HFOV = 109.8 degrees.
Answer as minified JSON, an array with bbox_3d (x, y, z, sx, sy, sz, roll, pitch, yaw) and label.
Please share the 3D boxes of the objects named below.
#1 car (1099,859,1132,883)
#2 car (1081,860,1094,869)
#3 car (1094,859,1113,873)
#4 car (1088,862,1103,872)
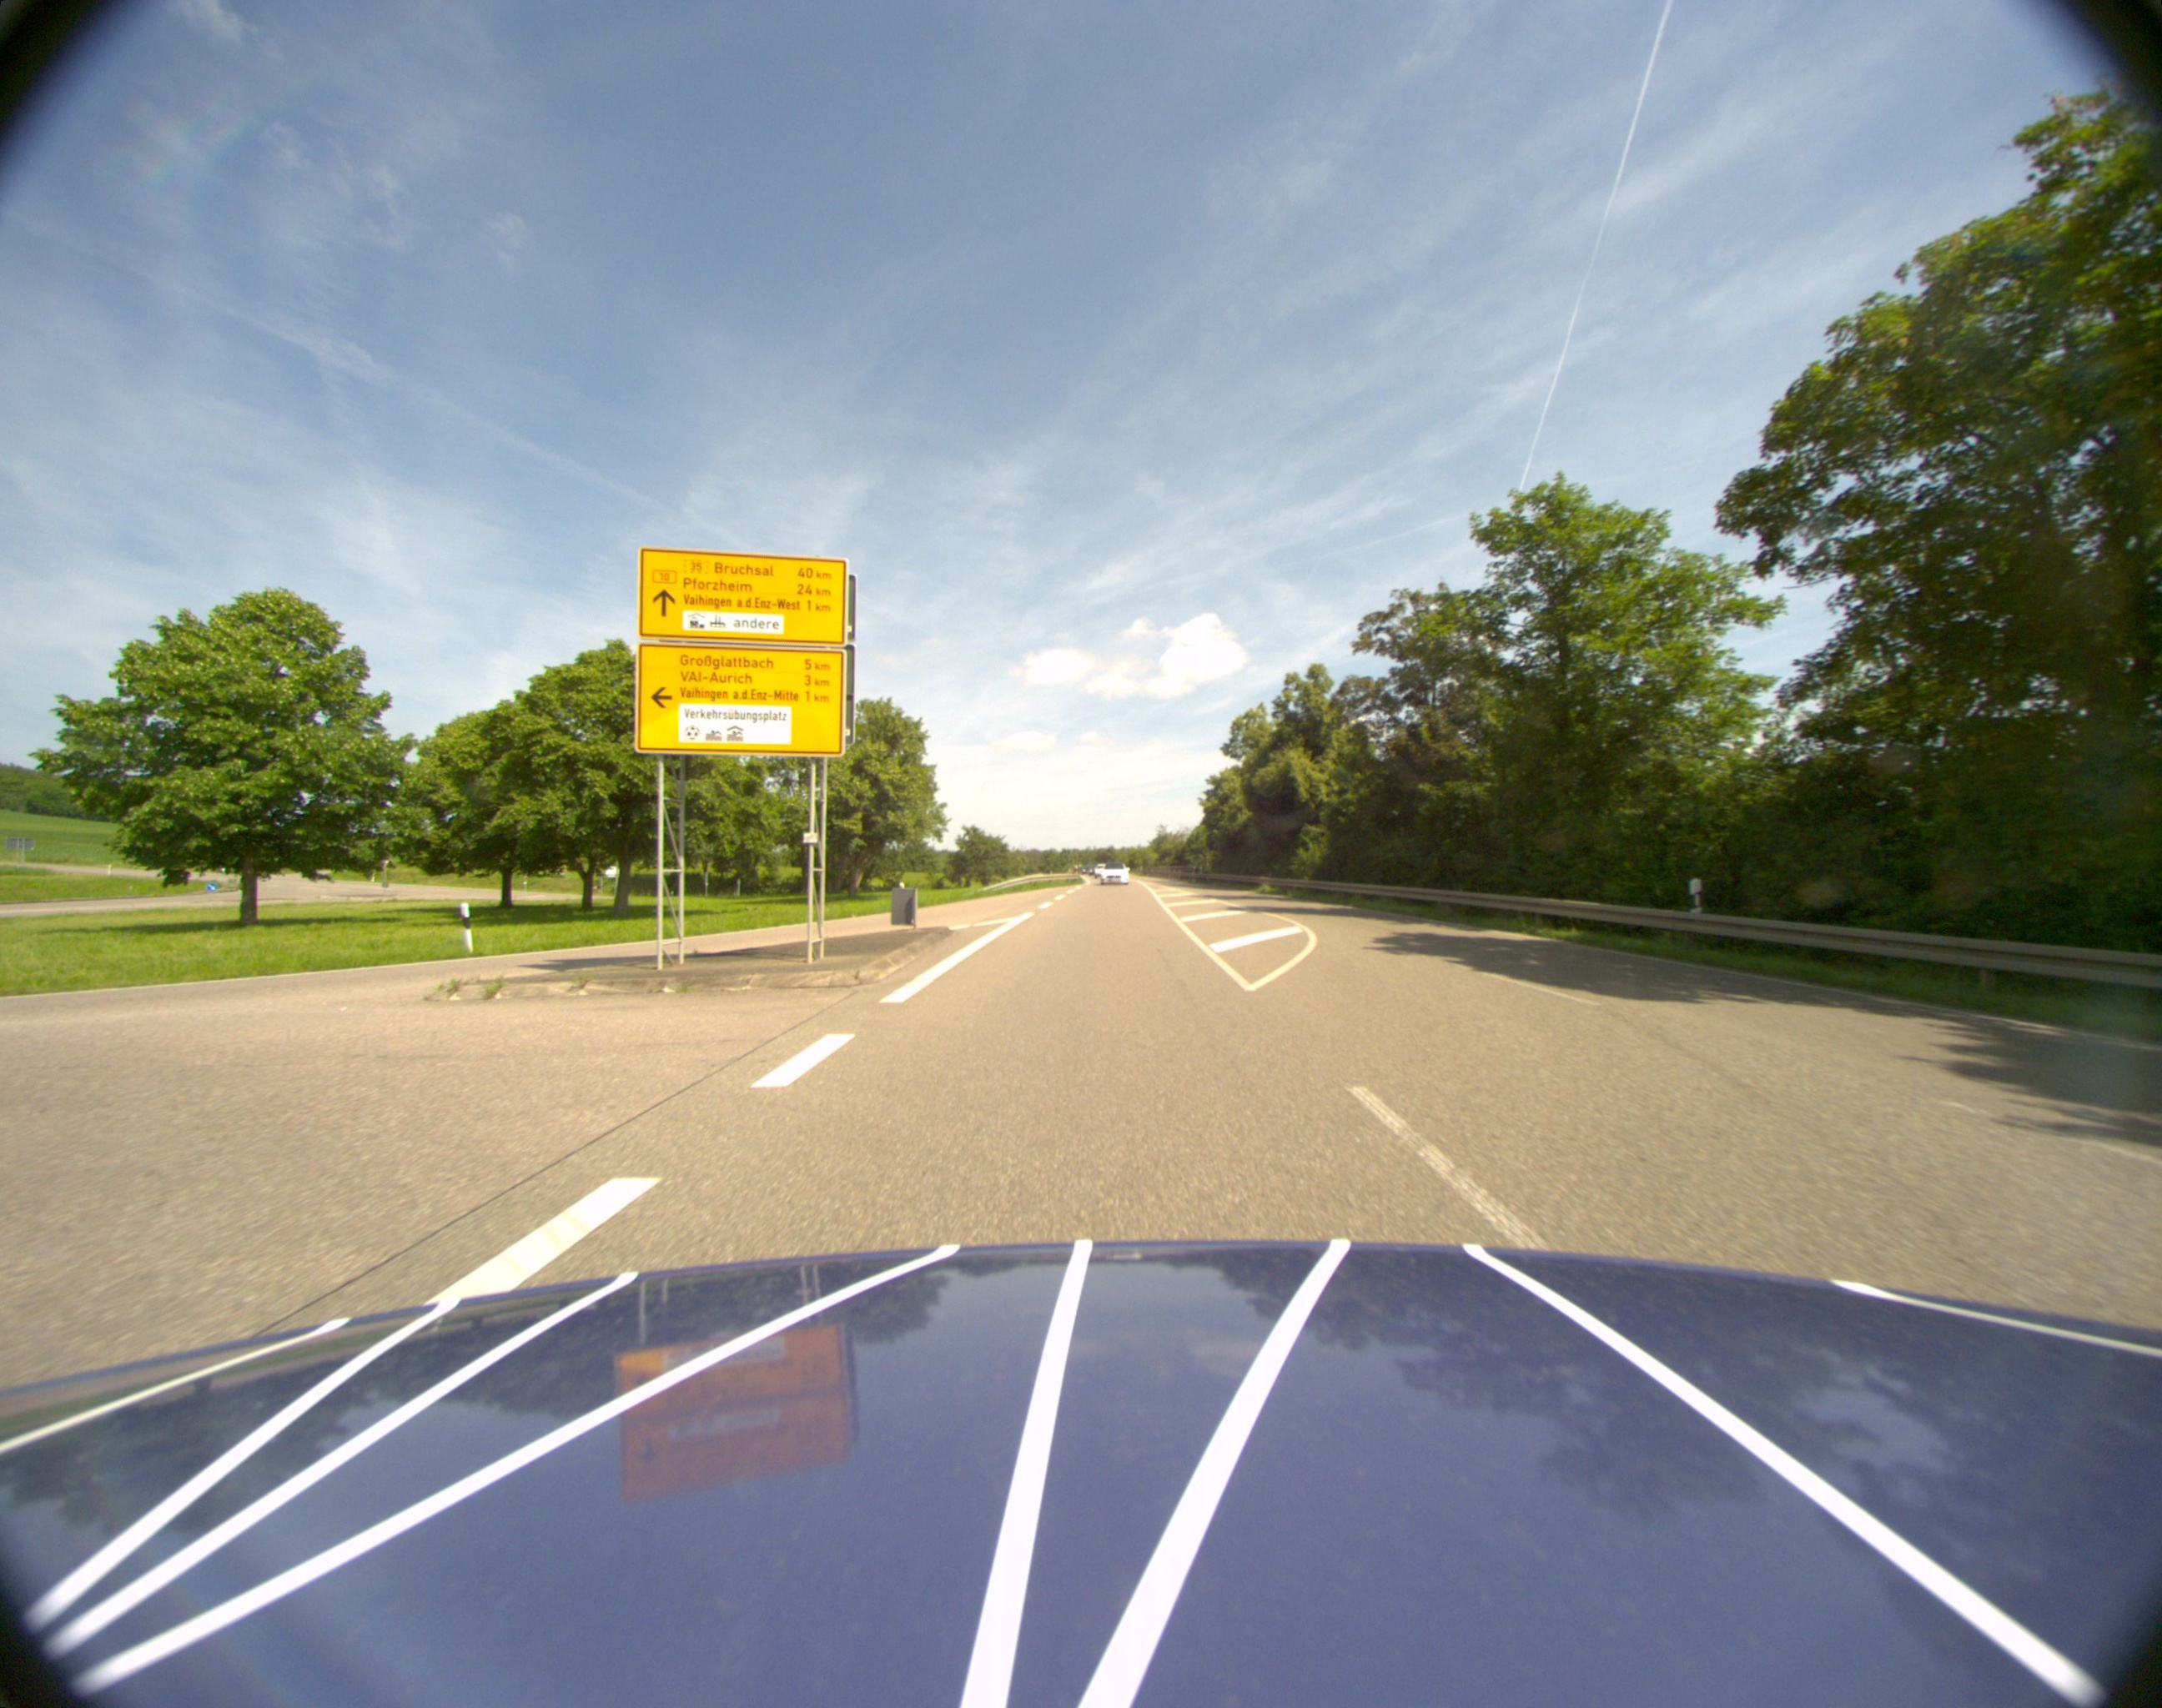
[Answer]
[{"bbox_3d":[2.235,1.102,50.507,1.929,1.441,4.534,-1,0,-1],"label":"car"},{"bbox_3d":[1.033,1.809,127.991,1.929,1.441,3.999,0,0,-2],"label":"car"},{"bbox_3d":[2.409,1.280,83.435,1.929,1.441,4.000,0,0,0],"label":"car"},{"bbox_3d":[2.012,1.806,105.511,1.929,1.441,4.076,0,-1,-2],"label":"car"}]
